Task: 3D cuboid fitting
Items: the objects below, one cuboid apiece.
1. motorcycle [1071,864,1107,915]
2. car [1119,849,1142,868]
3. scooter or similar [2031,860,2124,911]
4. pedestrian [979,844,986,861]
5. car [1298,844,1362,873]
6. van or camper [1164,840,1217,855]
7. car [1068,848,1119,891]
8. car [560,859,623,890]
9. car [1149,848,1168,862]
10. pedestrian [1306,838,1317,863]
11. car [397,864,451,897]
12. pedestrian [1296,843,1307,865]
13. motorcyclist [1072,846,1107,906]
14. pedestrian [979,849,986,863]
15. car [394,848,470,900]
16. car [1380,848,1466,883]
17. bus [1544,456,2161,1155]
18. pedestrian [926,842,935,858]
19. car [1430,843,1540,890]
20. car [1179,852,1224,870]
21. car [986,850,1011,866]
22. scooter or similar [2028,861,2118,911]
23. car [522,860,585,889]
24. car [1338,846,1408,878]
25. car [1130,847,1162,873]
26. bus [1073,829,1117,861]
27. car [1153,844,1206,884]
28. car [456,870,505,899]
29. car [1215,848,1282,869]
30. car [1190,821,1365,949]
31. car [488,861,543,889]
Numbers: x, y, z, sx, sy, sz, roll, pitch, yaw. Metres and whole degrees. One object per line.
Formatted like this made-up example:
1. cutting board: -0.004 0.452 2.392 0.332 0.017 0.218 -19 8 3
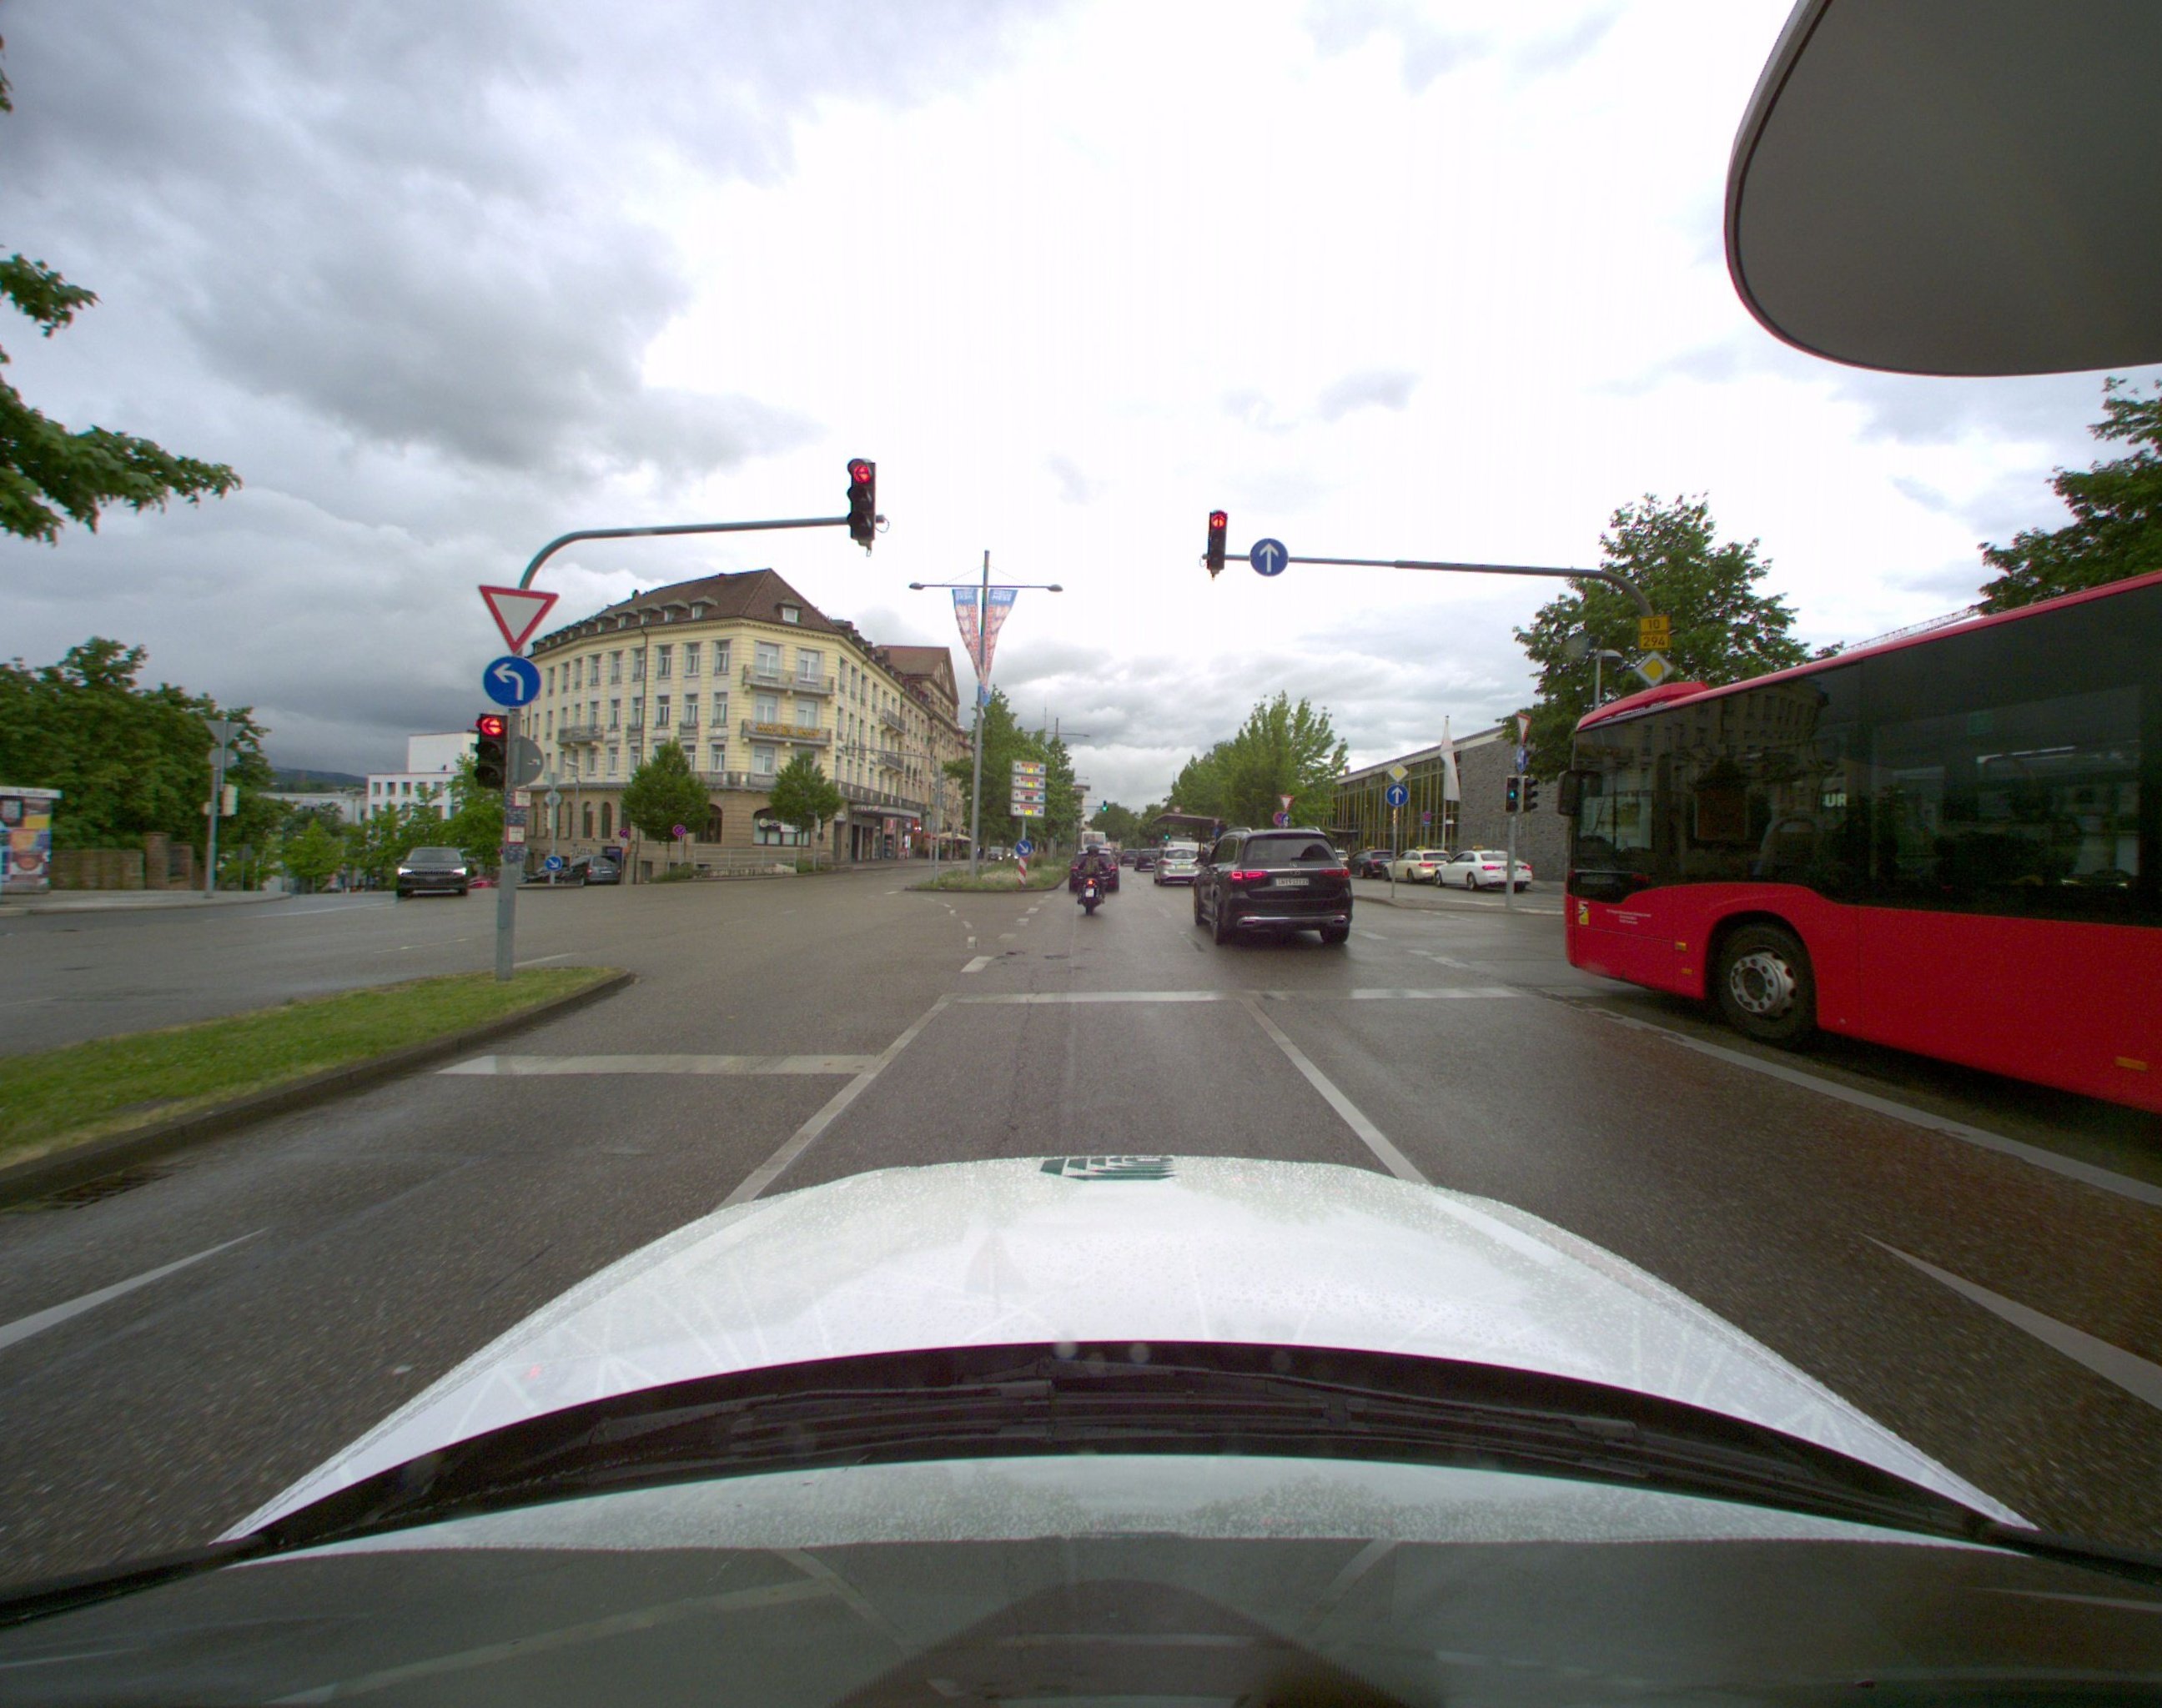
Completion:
1. motorcycle: 0.205 0.785 18.699 0.763 1.077 2.176 0 0 2
2. car: 4.269 0.392 71.092 1.805 1.642 3.903 0 0 0
3. scooter or similar: 23.457 0.720 19.199 1.309 1.154 0.470 0 0 39
4. pedestrian: -11.643 -0.209 96.473 0.756 2.013 0.832 0 0 -5
5. car: 14.707 0.253 48.361 1.990 1.600 4.814 0 0 -5
6. van or camper: 14.416 -0.836 107.081 6.787 2.014 2.366 0 0 -25
7. car: 0.487 0.508 29.537 1.702 1.448 4.002 0 0 2
8. car: -27.067 1.099 44.965 3.949 1.568 1.812 0 0 41
9. car: 8.513 0.105 89.630 1.809 1.530 4.002 0 0 2
10. pedestrian: 21.946 -0.340 77.690 0.839 2.411 0.863 0 0 3
11. car: -43.744 1.735 54.200 3.949 2.013 2.012 0 0 40
12. pedestrian: 19.692 -0.014 72.732 0.767 2.013 0.828 0 0 -1
13. motorcyclist: 0.207 0.481 18.577 0.761 1.331 0.867 0 0 2
14. pedestrian: -11.684 0.231 96.427 0.672 1.701 0.634 0 0 1
15. car: -22.375 0.619 28.233 1.835 1.640 4.550 0 0 -36
16. car: 14.834 0.457 35.579 1.840 1.451 4.666 0 0 0
17. bus: 6.275 -0.225 3.773 2.733 3.173 10.199 0 0 2
18. pedestrian: -14.040 -0.404 76.069 0.666 1.510 0.513 0 0 -37
19. car: 14.704 0.403 29.922 1.768 1.589 4.615 0 0 0
20. car: 12.784 0.736 86.405 4.348 1.857 1.988 0 0 -18
21. car: -8.268 0.451 81.993 1.764 1.531 4.082 1 0 3
22. scooter or similar: 23.944 0.760 19.679 1.309 1.144 0.470 0 0 29
23. car: -31.943 1.236 49.297 3.948 1.640 2.013 -1 -1 37
24. car: 14.922 0.359 41.867 1.907 1.524 4.741 0 0 0
25. car: 4.188 0.375 53.164 1.805 1.581 3.903 0 0 0
26. bus: 1.324 -0.985 90.167 3.752 3.209 15.508 0 0 -3
27. car: 4.022 0.385 33.879 1.844 1.567 4.002 0 0 2
28. car: -40.968 2.031 55.511 3.575 1.812 1.788 0 0 38
29. car: 11.419 0.286 55.690 1.788 1.385 4.318 -1 0 -39
30. car: 3.108 0.420 13.934 1.986 1.806 4.691 0 0 2
31. car: -36.290 1.314 52.212 3.864 1.640 1.805 0 0 37
